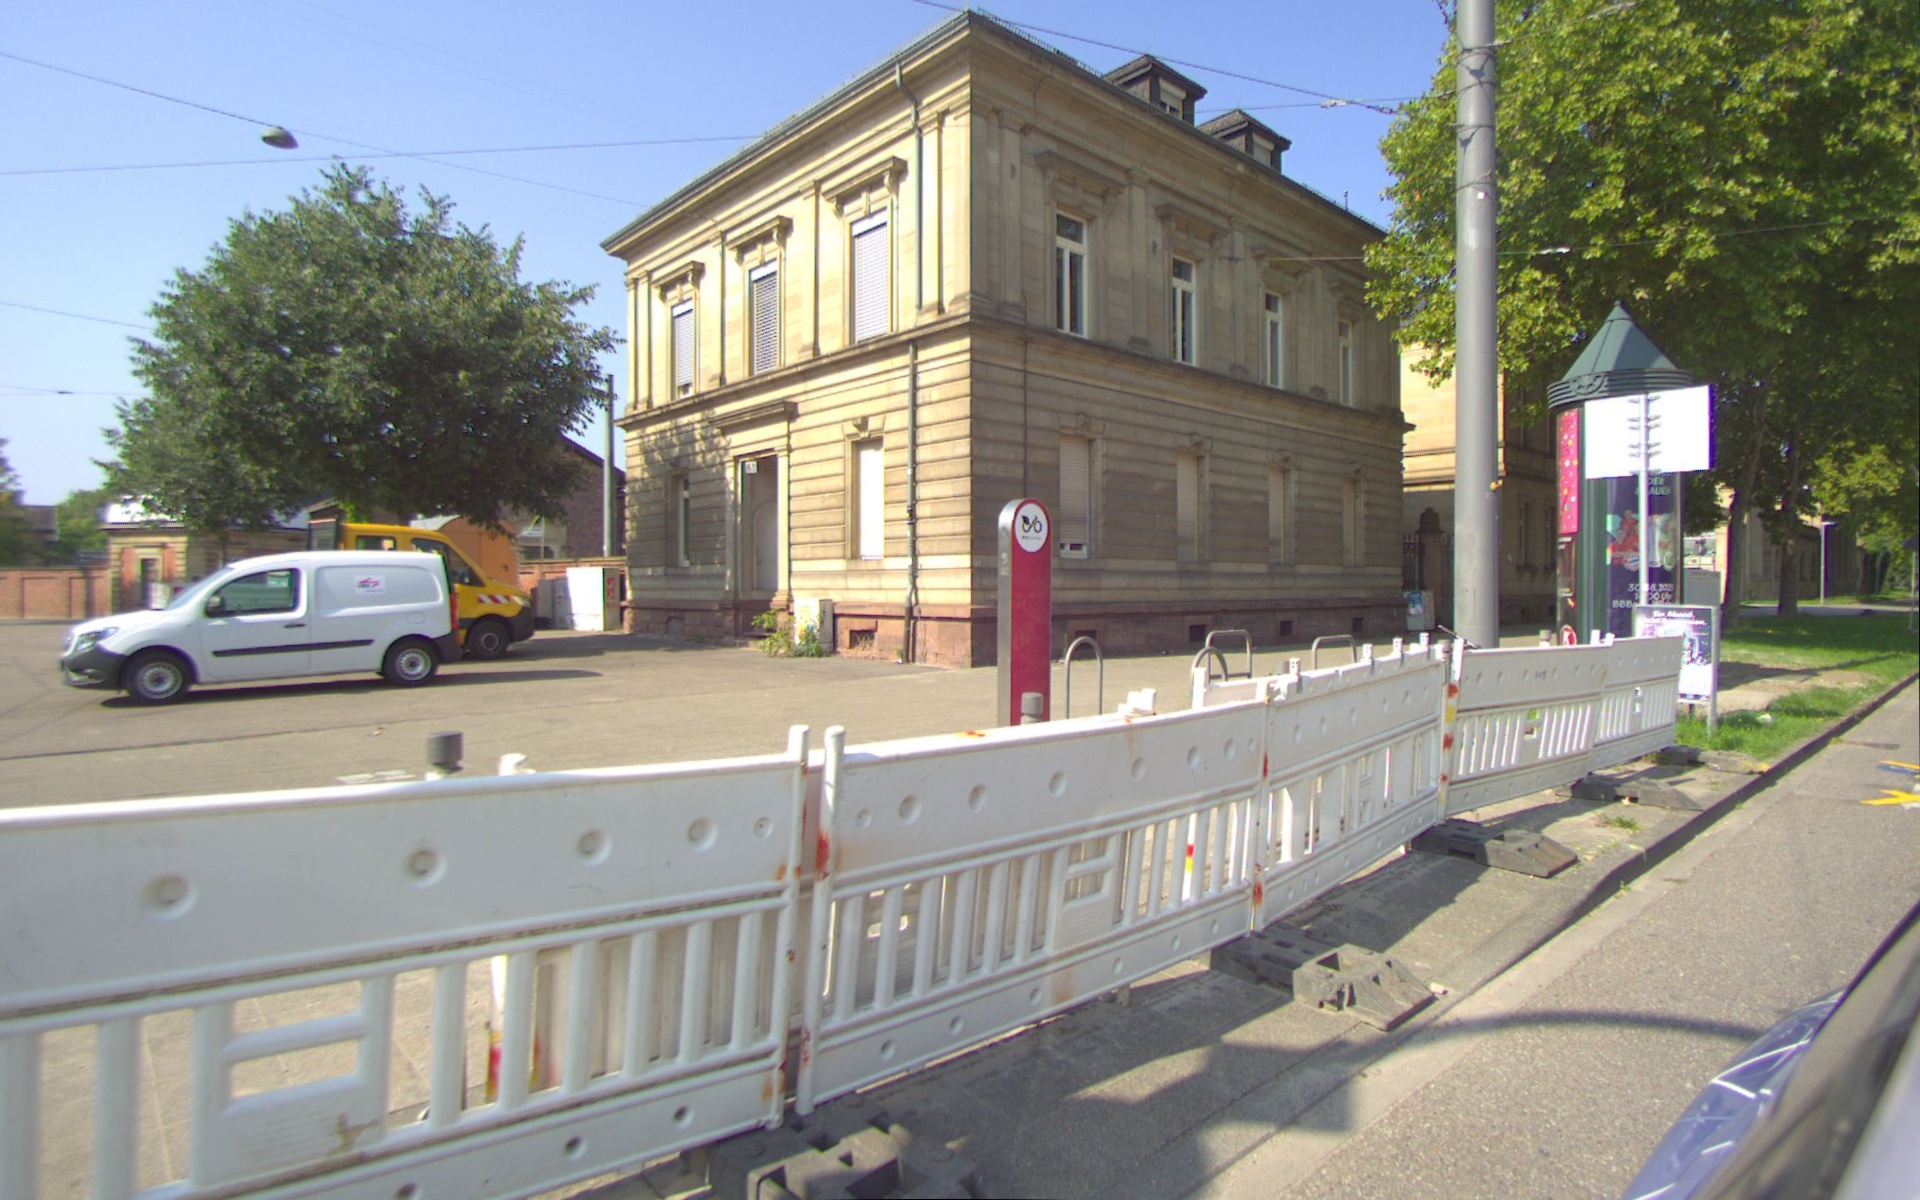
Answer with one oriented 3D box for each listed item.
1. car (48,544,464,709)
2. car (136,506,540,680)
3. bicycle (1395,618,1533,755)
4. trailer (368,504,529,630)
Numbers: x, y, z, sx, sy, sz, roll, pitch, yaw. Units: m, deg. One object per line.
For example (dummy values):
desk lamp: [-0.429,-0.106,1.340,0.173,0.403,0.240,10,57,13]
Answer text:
car: [-8.900,0.212,13.076,4.150,1.805,1.908,-2,3,-39]
car: [-10.217,-0.163,17.018,2.258,2.453,5.403,0,1,44]
bicycle: [4.417,0.705,8.830,1.544,1.019,0.539,-2,2,-42]
trailer: [-13.724,-0.853,27.100,4.104,3.086,2.477,0,2,42]
